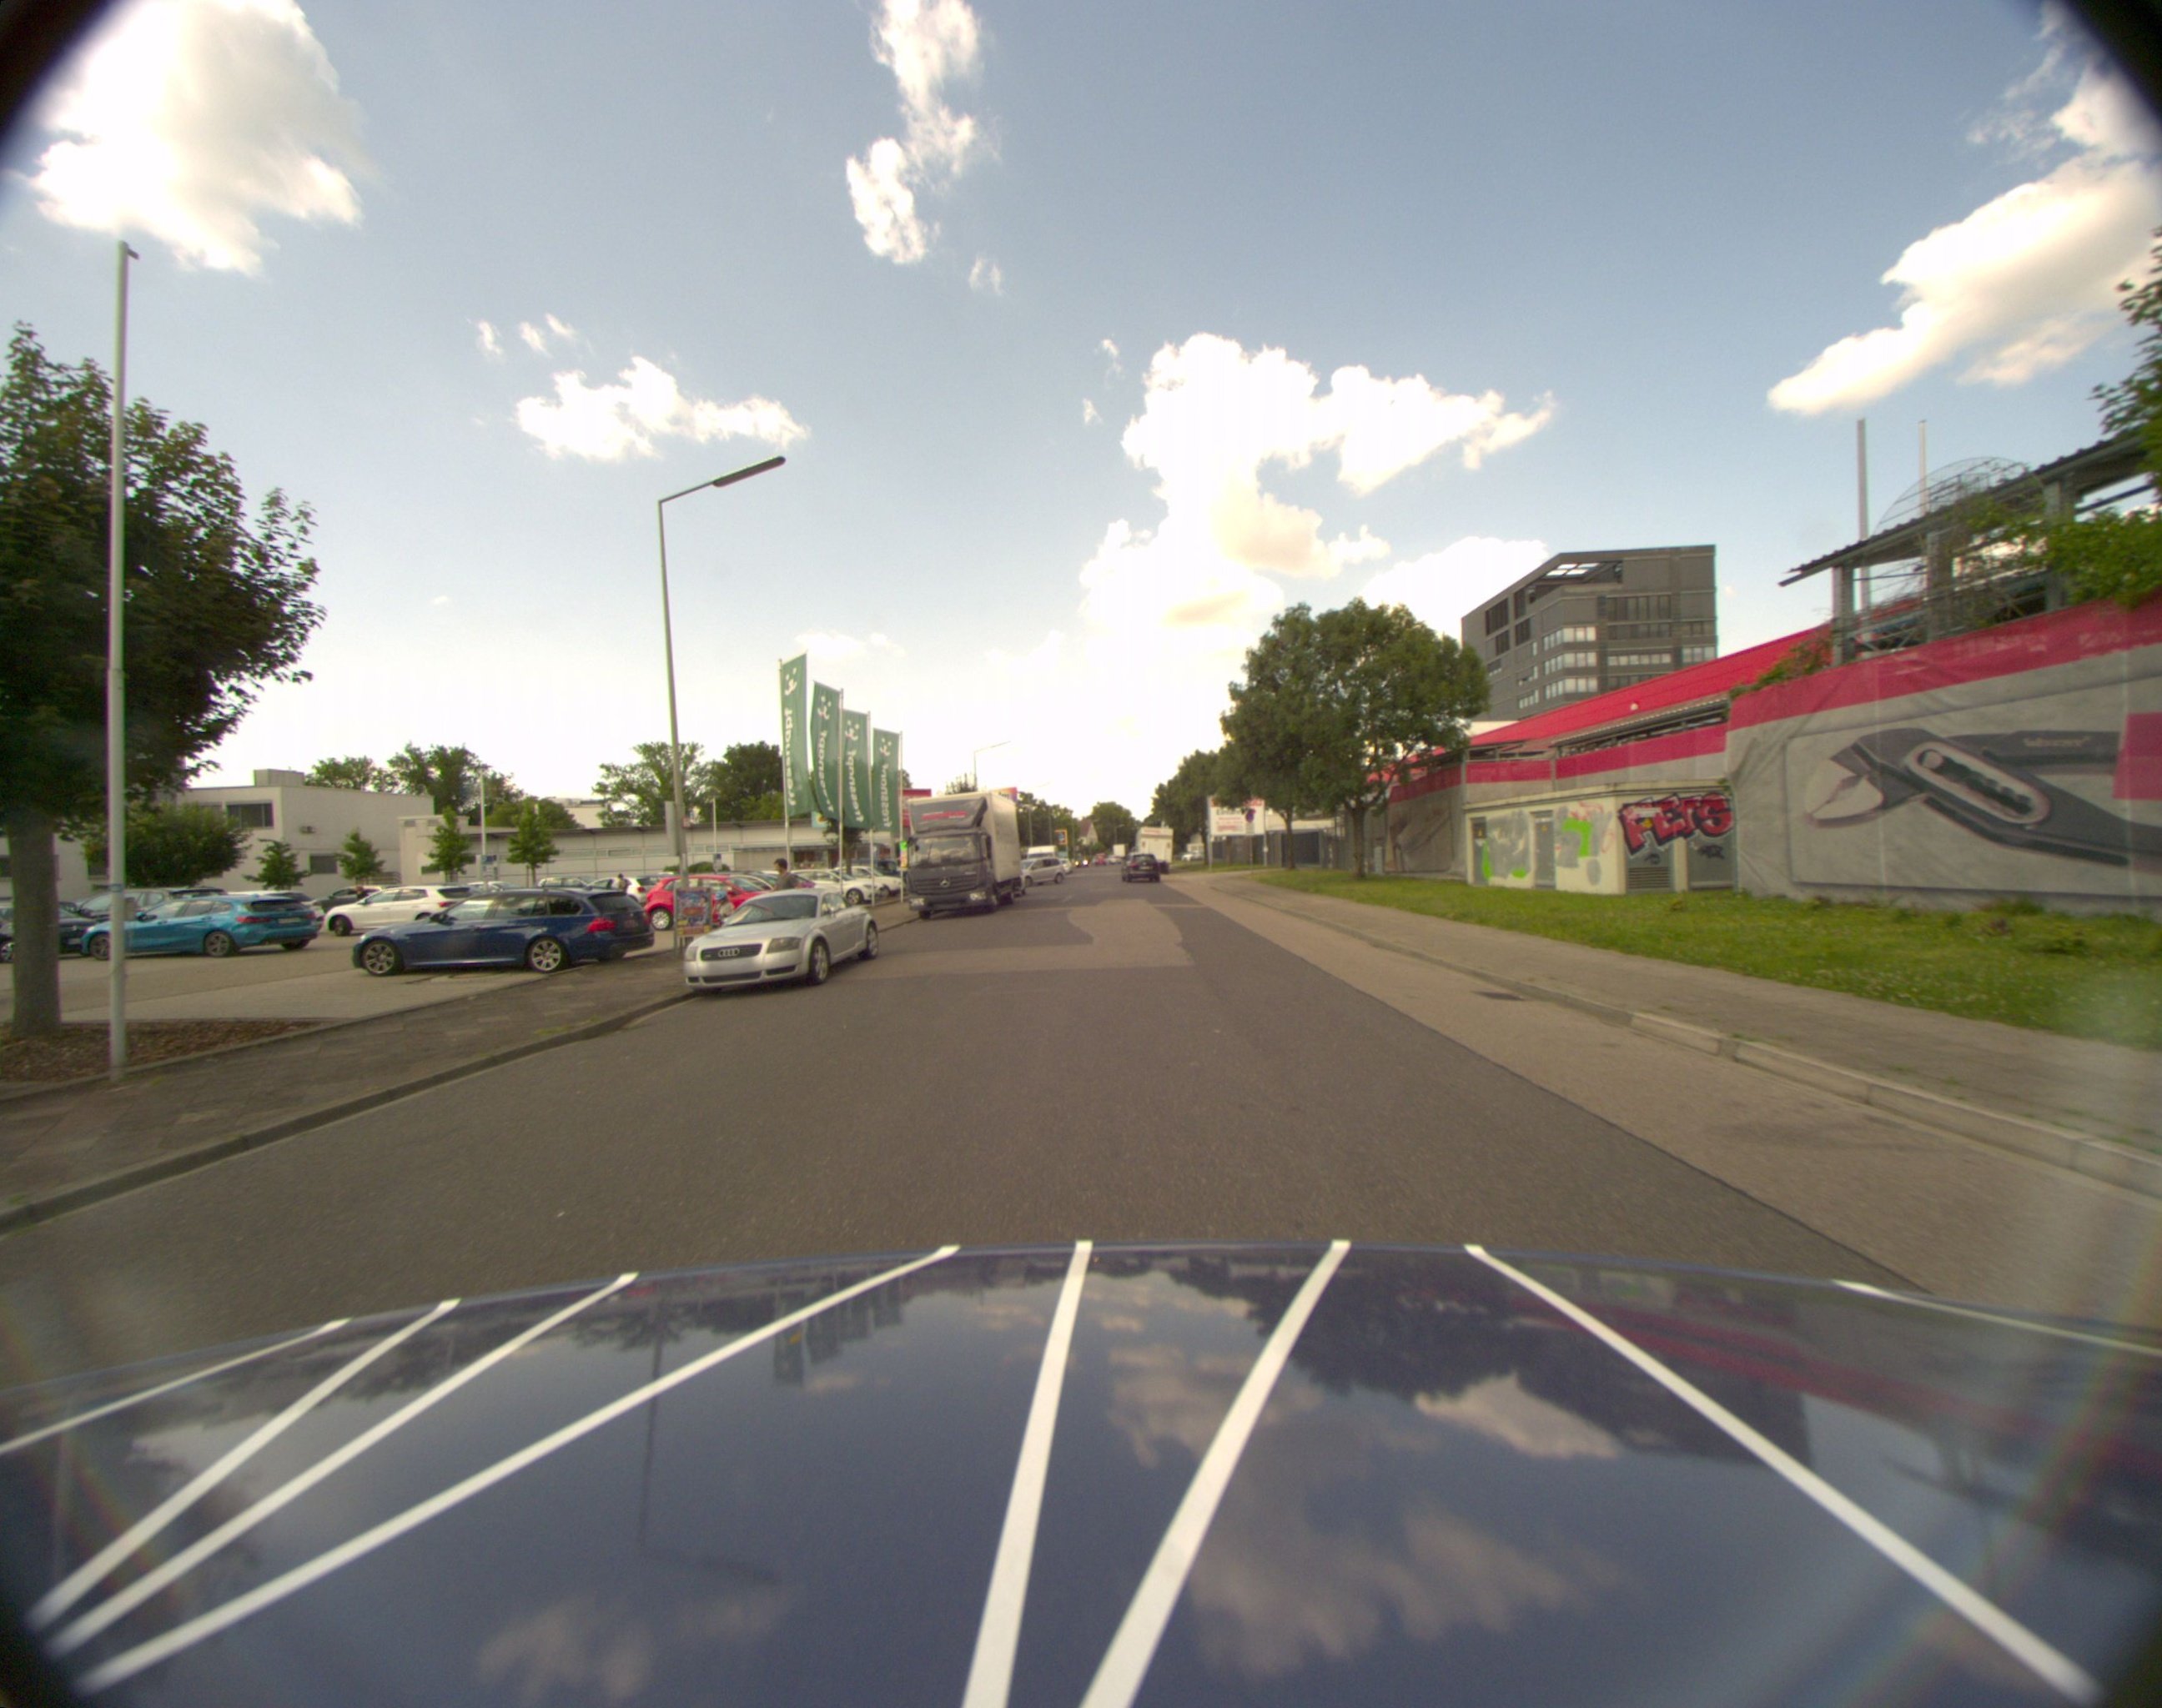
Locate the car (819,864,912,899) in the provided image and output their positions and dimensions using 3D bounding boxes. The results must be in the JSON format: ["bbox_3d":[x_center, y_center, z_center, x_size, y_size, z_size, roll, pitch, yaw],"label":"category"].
[{"bbox_3d":[-10.055,1.275,35.619,3.820,1.490,1.654,-2,0,3],"label":"car"}]

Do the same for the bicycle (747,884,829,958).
[{"bbox_3d":[-5.852,1.302,15.305,0.794,1.287,1.883,1,1,4],"label":"bicycle"}]

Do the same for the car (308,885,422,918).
[{"bbox_3d":[-35.810,2.359,38.070,4.042,1.475,1.724,-2,0,0],"label":"car"}]

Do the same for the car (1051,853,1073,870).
[{"bbox_3d":[-1.742,0.710,71.516,1.698,1.448,3.550,-5,0,2],"label":"car"}]

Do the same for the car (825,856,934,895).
[{"bbox_3d":[-10.117,1.083,38.313,4.905,1.777,1.903,-2,0,2],"label":"car"}]

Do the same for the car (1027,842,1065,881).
[{"bbox_3d":[-2.437,0.508,53.813,2.057,2.395,5.455,-5,0,2],"label":"car"}]

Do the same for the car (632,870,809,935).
[{"bbox_3d":[-9.655,1.277,20.579,3.894,1.513,1.748,-2,0,-3],"label":"car"}]

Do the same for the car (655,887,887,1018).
[{"bbox_3d":[-4.437,1.339,11.600,1.665,1.332,3.985,-6,0,2],"label":"car"}]

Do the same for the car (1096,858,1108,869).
[{"bbox_3d":[3.211,1.423,116.232,1.856,1.467,4.000,-3,0,2],"label":"car"}]

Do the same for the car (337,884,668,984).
[{"bbox_3d":[-9.851,1.334,13.199,4.318,1.435,1.846,-2,0,1],"label":"car"}]

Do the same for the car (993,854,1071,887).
[{"bbox_3d":[-2.839,0.942,44.840,1.741,1.674,4.600,-3,0,41],"label":"car"}]

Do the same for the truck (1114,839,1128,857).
[{"bbox_3d":[9.736,-1.414,184.202,2.979,4.132,9.668,-3,0,2],"label":"truck"}]

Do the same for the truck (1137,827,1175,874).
[{"bbox_3d":[6.255,-0.318,64.312,2.754,3.701,7.172,-1,1,2],"label":"truck"}]

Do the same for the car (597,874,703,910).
[{"bbox_3d":[-20.124,1.748,35.580,3.945,1.475,1.724,-2,0,0],"label":"car"}]

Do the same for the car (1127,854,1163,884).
[{"bbox_3d":[3.594,0.814,43.308,1.878,1.610,4.294,1,0,2],"label":"car"}]

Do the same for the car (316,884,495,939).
[{"bbox_3d":[-20.859,1.745,23.576,3.945,1.475,1.724,-2,0,0],"label":"car"}]

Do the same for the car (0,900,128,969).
[{"bbox_3d":[-26.250,1.961,18.431,4.030,1.475,1.724,-2,0,0],"label":"car"}]

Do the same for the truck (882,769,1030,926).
[{"bbox_3d":[-3.717,-0.178,25.038,2.785,4.092,8.280,-5,0,3],"label":"truck"}]

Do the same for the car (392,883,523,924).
[{"bbox_3d":[-25.617,2.030,31.306,3.945,1.475,1.724,-2,0,0],"label":"car"}]

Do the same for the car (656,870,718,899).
[{"bbox_3d":[-23.285,1.781,44.982,2.716,1.534,1.647,-3,0,1],"label":"car"}]

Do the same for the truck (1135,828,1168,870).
[{"bbox_3d":[6.679,-0.412,72.803,2.754,3.787,7.172,-1,0,2],"label":"truck"}]

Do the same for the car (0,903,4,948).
[{"bbox_3d":[-37.619,2.403,24.212,4.041,1.475,1.724,-2,0,0],"label":"car"}]

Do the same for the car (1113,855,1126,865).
[{"bbox_3d":[6.307,0.977,124.706,1.982,1.467,4.000,-3,0,2],"label":"car"}]

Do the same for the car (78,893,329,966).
[{"bbox_3d":[-21.108,1.789,18.401,3.992,1.475,1.741,-2,0,0],"label":"car"}]

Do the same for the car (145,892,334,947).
[{"bbox_3d":[-26.276,2.016,23.826,3.945,1.475,1.724,-2,0,0],"label":"car"}]

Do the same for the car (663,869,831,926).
[{"bbox_3d":[-10.072,1.288,23.166,4.297,1.533,1.748,-2,0,-3],"label":"car"}]

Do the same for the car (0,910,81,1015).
[{"bbox_3d":[-17.117,1.702,10.434,1.723,1.510,3.753,-3,0,0],"label":"car"}]

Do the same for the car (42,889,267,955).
[{"bbox_3d":[-25.728,1.858,21.207,4.068,1.568,1.740,-2,0,0],"label":"car"}]

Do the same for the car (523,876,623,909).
[{"bbox_3d":[-25.951,1.950,38.898,3.945,1.475,1.724,-2,0,0],"label":"car"}]

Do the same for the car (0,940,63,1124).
[{"bbox_3d":[-10.441,1.440,5.383,3.962,1.402,1.796,-1,0,-1],"label":"car"}]

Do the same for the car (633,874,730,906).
[{"bbox_3d":[-20.224,1.807,38.553,3.945,1.475,1.724,-2,0,0],"label":"car"}]

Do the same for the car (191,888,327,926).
[{"bbox_3d":[-36.891,2.356,34.173,4.141,1.475,1.724,-2,0,0],"label":"car"}]

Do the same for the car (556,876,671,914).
[{"bbox_3d":[-20.494,1.785,33.408,3.945,1.475,1.724,-2,0,0],"label":"car"}]

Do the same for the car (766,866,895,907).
[{"bbox_3d":[-10.001,1.294,30.580,4.492,1.429,1.859,-2,0,1],"label":"car"}]

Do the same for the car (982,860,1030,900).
[{"bbox_3d":[-3.207,1.103,33.173,1.549,1.502,3.626,-5,0,1],"label":"car"}]

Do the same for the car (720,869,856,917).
[{"bbox_3d":[-9.816,1.277,25.713,3.894,1.424,1.748,-2,0,-3],"label":"car"}]

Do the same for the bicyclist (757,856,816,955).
[{"bbox_3d":[-5.859,0.996,15.139,0.796,1.899,0.829,1,1,5],"label":"bicyclist"}]

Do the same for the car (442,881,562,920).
[{"bbox_3d":[-25.589,2.038,33.679,3.945,1.475,1.724,-2,0,0],"label":"car"}]
